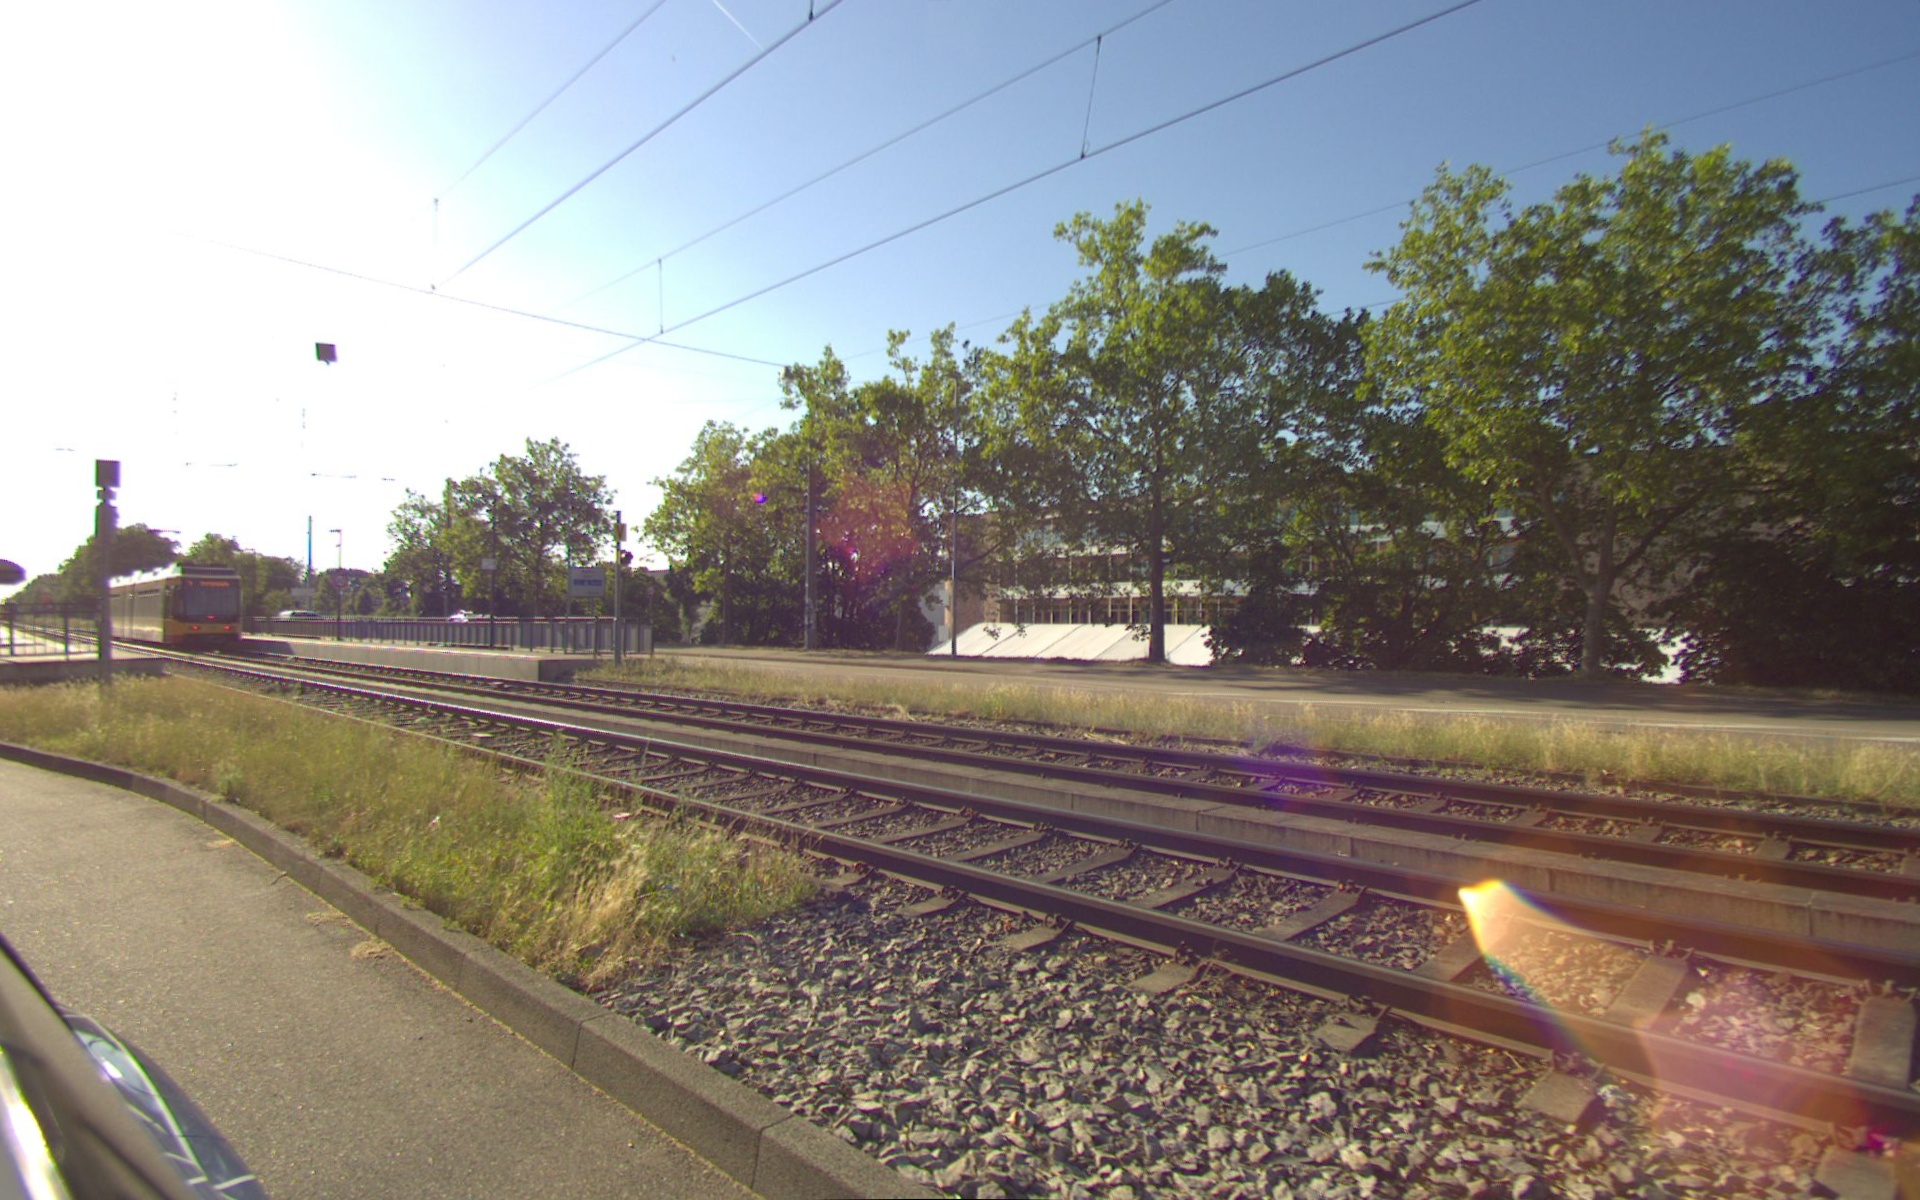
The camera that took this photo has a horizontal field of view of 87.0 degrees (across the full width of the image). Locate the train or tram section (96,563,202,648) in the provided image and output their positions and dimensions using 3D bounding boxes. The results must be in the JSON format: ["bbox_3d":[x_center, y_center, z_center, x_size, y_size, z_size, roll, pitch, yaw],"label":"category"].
[{"bbox_3d":[-44.086,0.313,54.717,2.795,4.036,15.883,-1,0,-45],"label":"train or tram section"}]

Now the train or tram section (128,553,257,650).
[{"bbox_3d":[-33.951,0.101,44.452,2.795,3.714,12.976,-1,0,-45],"label":"train or tram section"}]

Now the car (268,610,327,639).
[{"bbox_3d":[-37.955,1.385,57.938,4.336,1.573,1.971,-1,-1,45],"label":"car"}]

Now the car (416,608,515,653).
[{"bbox_3d":[-18.696,1.111,38.201,4.545,1.573,1.971,-1,-1,45],"label":"car"}]
